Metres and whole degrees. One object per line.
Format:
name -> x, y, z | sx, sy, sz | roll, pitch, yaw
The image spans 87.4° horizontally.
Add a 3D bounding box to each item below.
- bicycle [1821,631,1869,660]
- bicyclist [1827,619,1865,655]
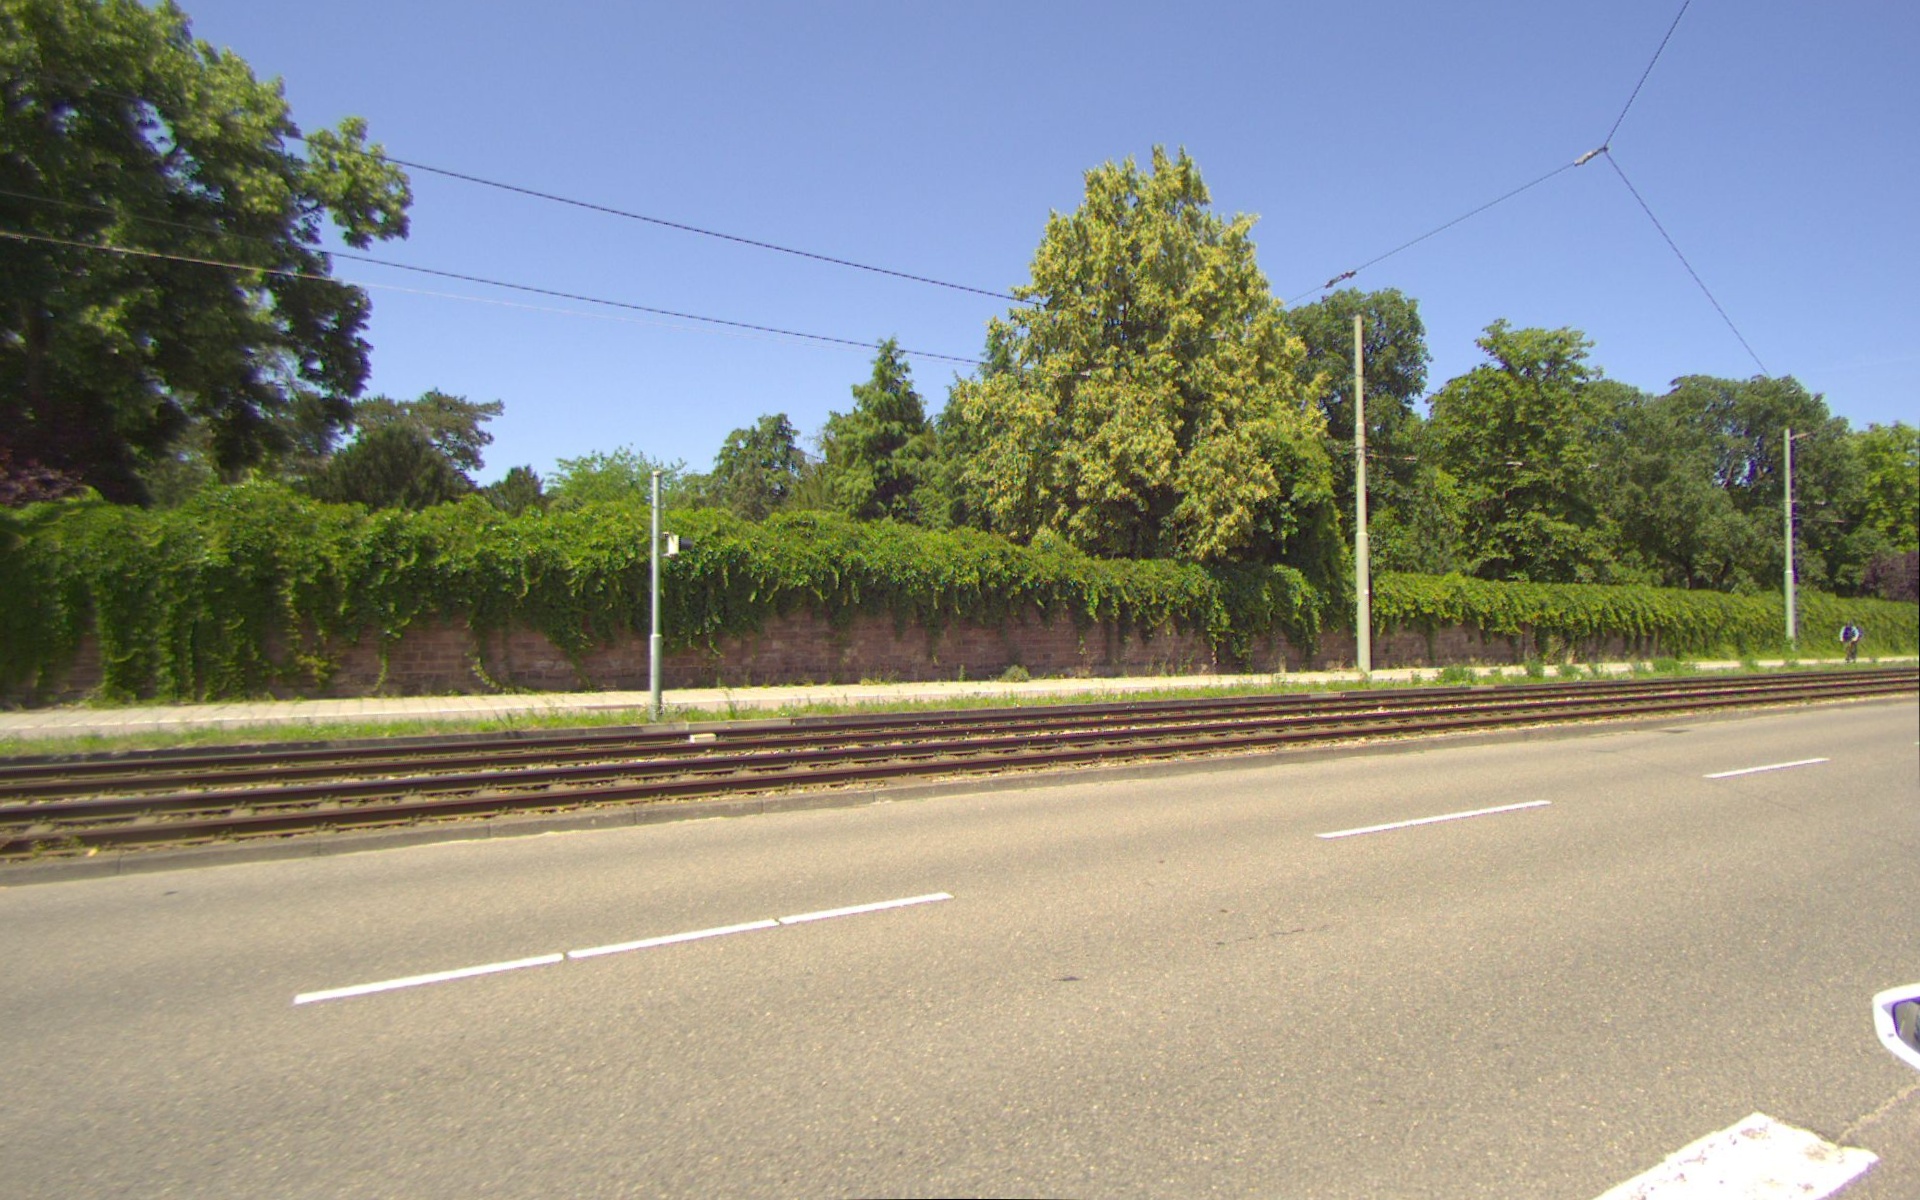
bicycle -> 37.910, 1.940, 43.021 | 2.655, 1.171, 0.824 | 1, -1, -31
bicyclist -> 37.999, 1.587, 43.075 | 0.989, 1.506, 0.989 | 1, -1, -31
